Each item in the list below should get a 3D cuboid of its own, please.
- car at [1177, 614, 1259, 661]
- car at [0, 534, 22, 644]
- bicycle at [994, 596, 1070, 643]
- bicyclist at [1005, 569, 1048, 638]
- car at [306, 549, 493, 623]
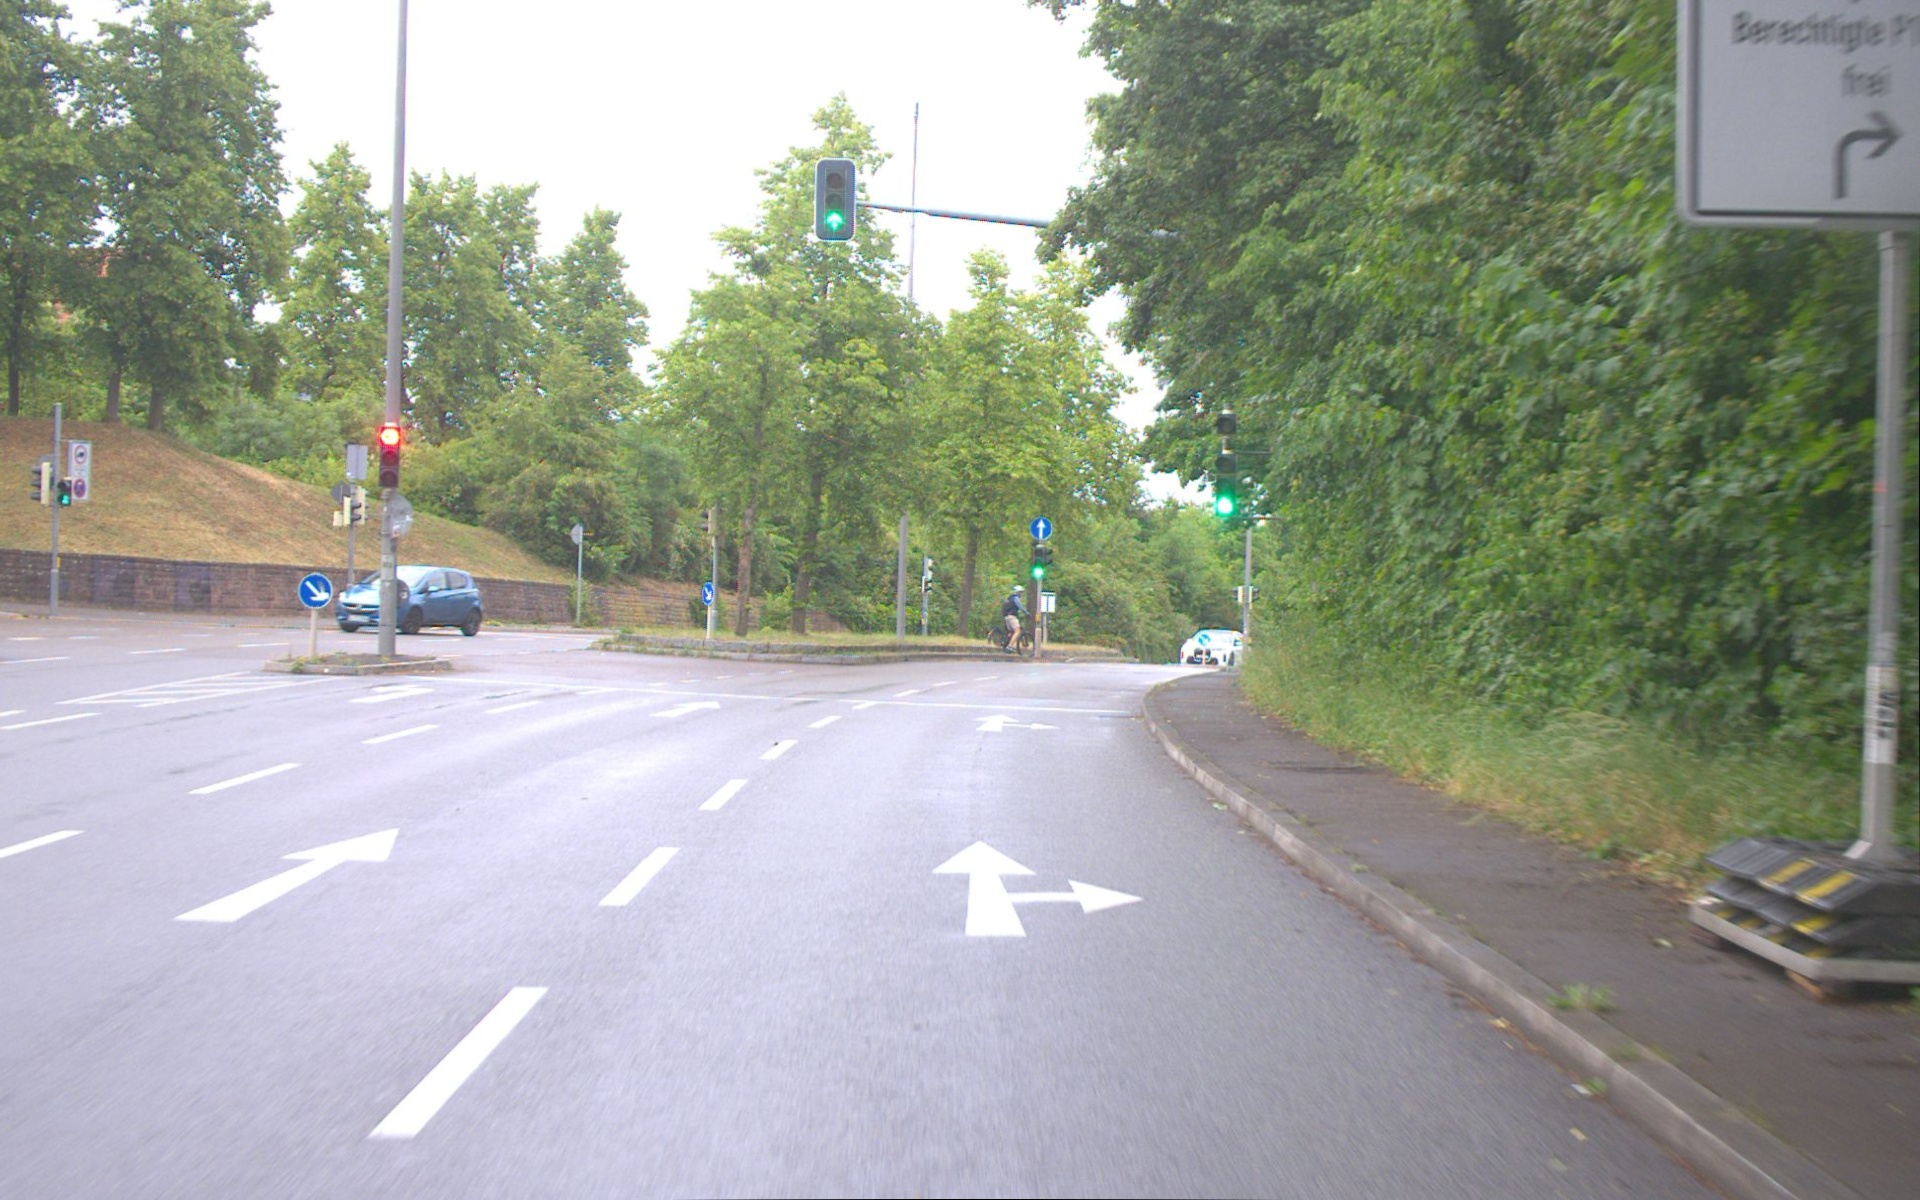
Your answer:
[{"bbox_3d":[10.198,1.484,135.529,1.947,1.630,5.000,3,-1,19],"label":"car"},{"bbox_3d":[-13.002,-0.117,41.752,1.875,1.369,4.384,1,1,2],"label":"car"},{"bbox_3d":[1.890,0.523,90.141,2.134,1.139,0.554,3,-1,-42],"label":"bicycle"},{"bbox_3d":[1.742,0.091,90.132,0.799,1.746,0.725,4,-4,-42],"label":"bicyclist"},{"bbox_3d":[-11.896,-0.313,73.182,1.996,1.485,3.931,2,1,26],"label":"car"}]
